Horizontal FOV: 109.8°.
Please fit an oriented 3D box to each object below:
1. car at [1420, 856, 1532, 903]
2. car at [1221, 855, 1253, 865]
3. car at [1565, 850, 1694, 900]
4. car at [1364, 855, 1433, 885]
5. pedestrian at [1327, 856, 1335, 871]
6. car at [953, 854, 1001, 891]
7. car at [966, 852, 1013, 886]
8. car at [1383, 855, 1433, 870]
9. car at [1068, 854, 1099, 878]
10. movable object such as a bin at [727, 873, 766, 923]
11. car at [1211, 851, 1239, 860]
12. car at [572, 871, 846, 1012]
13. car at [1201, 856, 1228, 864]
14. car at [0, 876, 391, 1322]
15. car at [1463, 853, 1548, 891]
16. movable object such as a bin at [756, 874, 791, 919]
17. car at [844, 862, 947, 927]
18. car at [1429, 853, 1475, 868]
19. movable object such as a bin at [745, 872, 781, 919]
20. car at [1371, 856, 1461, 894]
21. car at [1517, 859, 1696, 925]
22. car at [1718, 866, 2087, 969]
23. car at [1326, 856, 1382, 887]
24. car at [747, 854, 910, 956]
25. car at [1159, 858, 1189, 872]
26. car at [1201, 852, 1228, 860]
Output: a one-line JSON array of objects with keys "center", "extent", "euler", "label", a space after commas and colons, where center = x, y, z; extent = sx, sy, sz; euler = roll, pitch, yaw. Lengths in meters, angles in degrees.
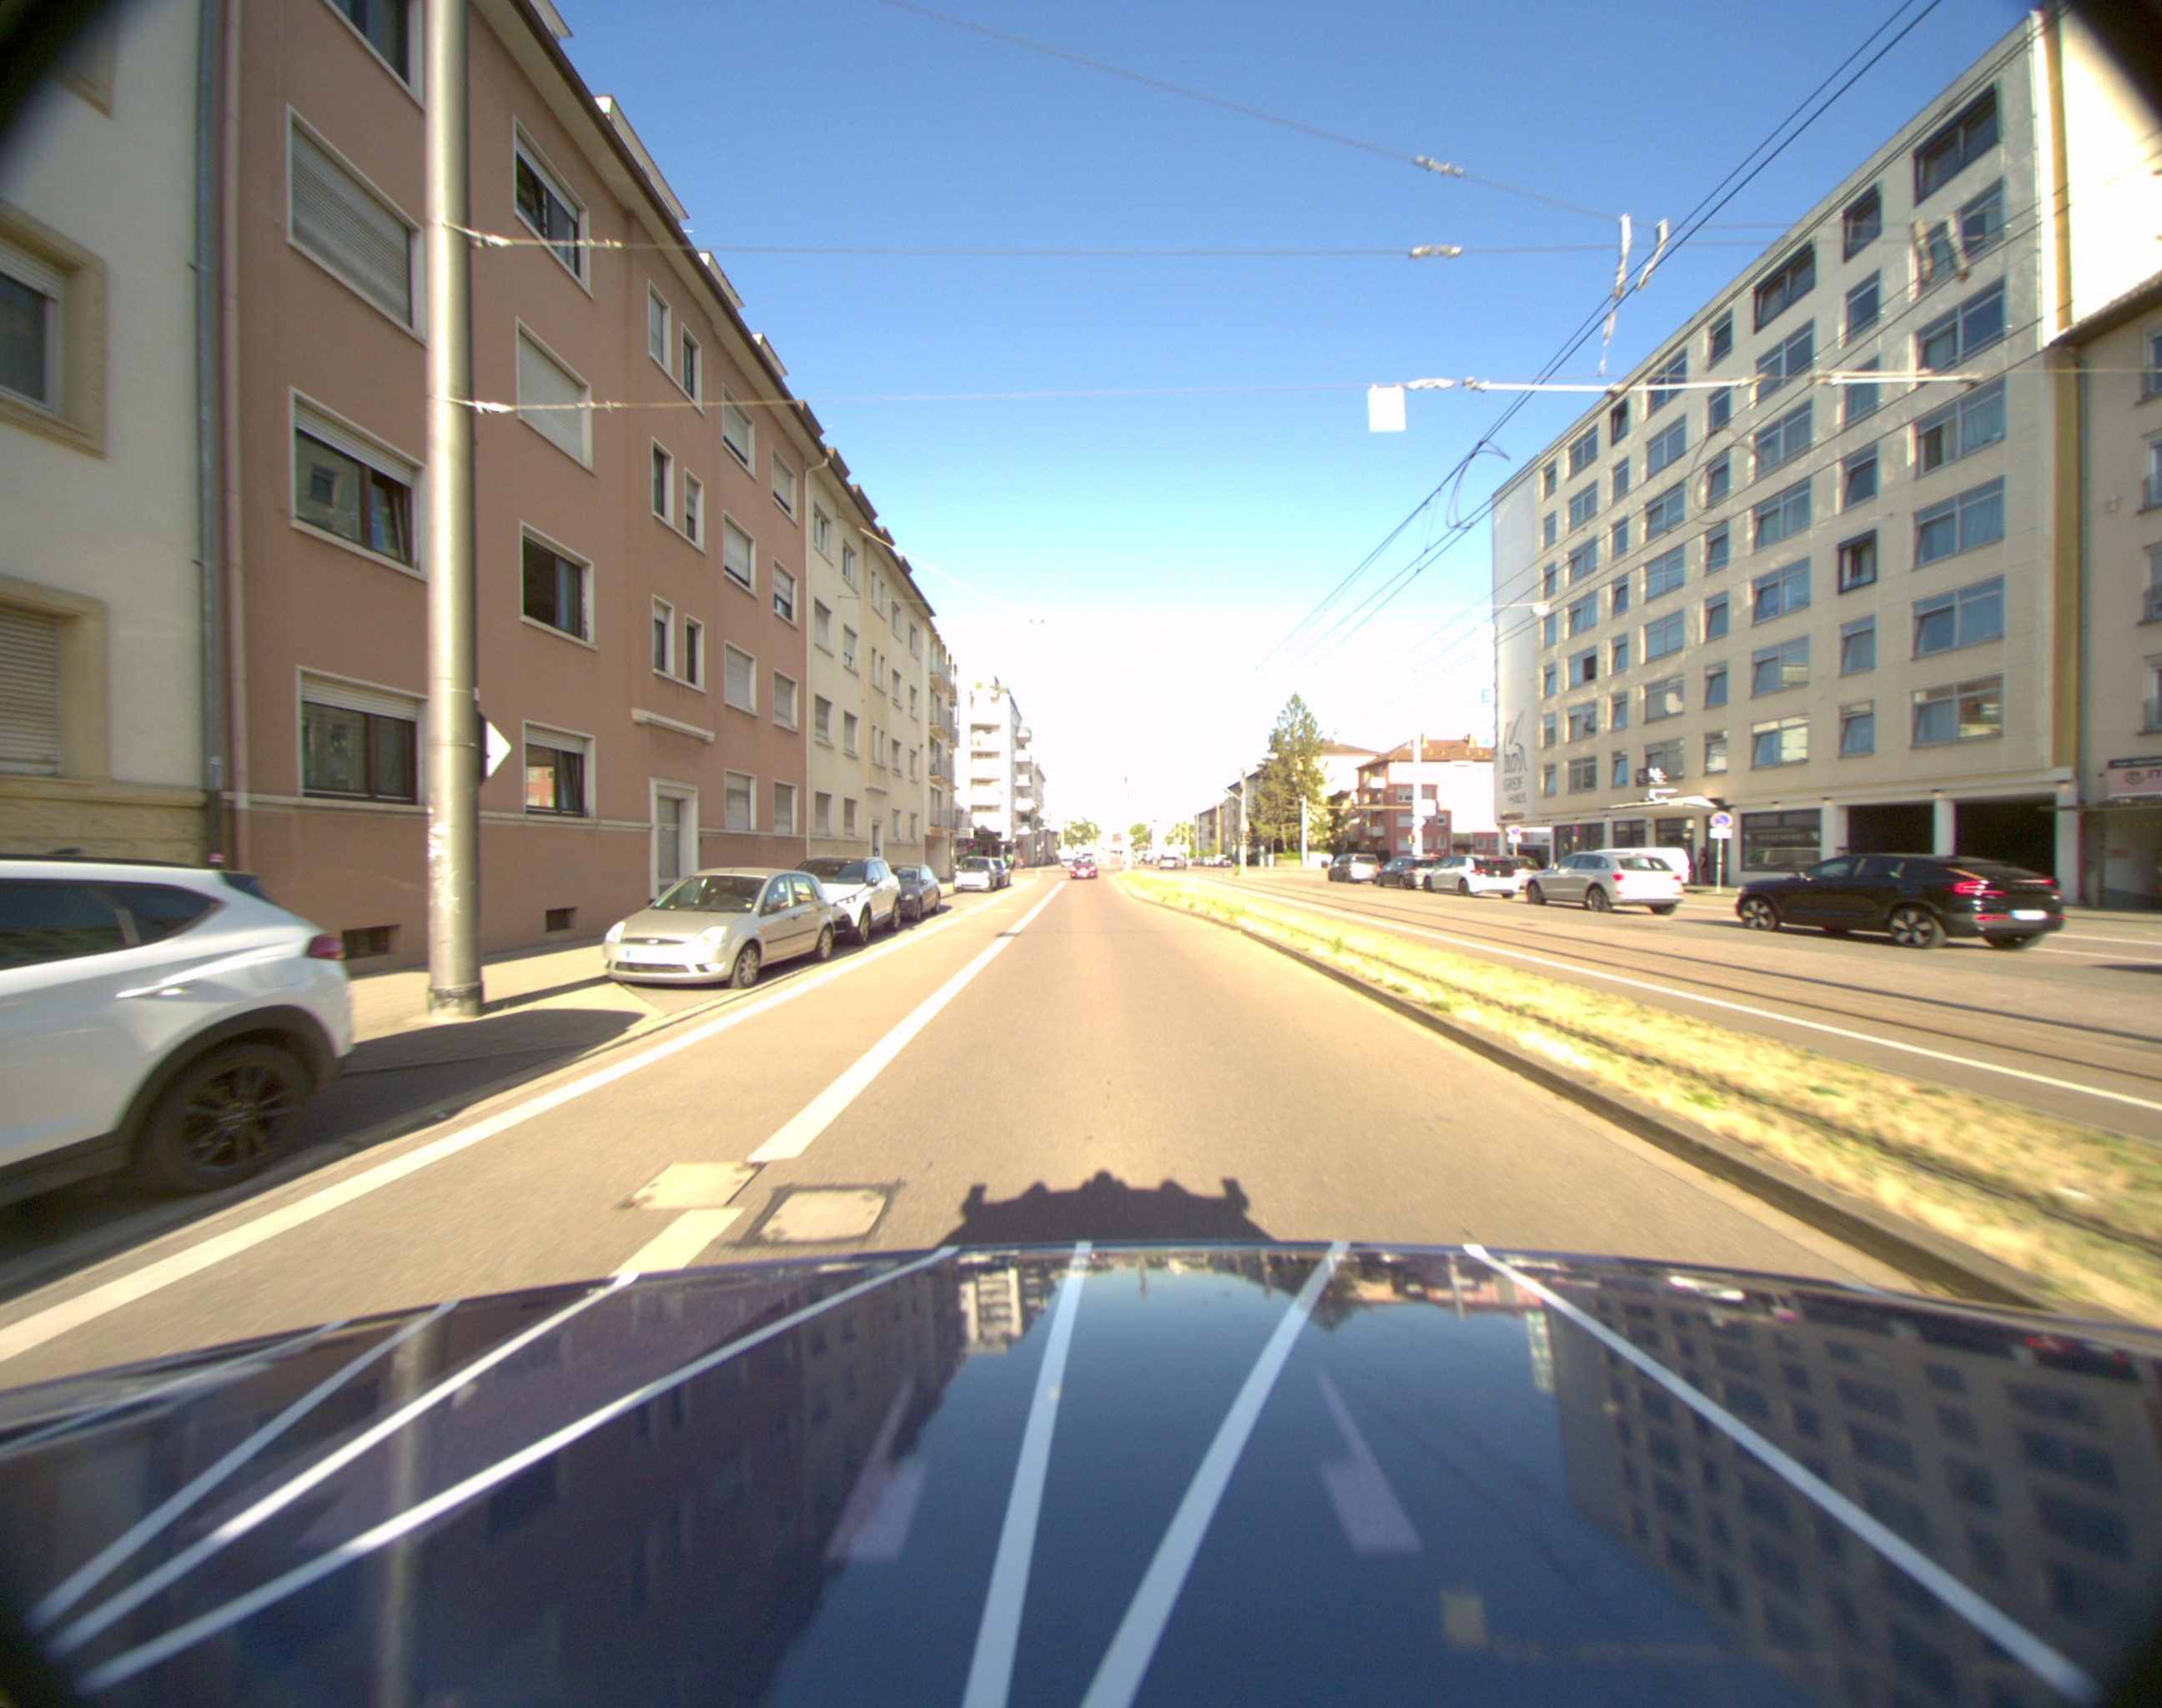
[{"center": [14.499, 0.884, 28.188], "extent": [1.861, 1.541, 4.240], "euler": [2, 0, -1], "label": "car"}, {"center": [21.229, 0.877, 103.492], "extent": [3.997, 1.324, 1.738], "euler": [0, 0, 0], "label": "car"}, {"center": [23.062, 0.835, 32.195], "extent": [1.999, 1.887, 4.669], "euler": [-2, 0, -1], "label": "car"}, {"center": [17.190, 0.822, 41.321], "extent": [1.999, 1.550, 3.999], "euler": [0, 0, -1], "label": "car"}, {"center": [26.631, 0.976, 80.835], "extent": [0.615, 1.596, 0.510], "euler": [-3, 1, -1], "label": "pedestrian"}, {"center": [-4.549, 0.791, 33.587], "extent": [1.762, 1.543, 2.649], "euler": [1, 0, -1], "label": "car"}, {"center": [-4.461, 0.691, 37.557], "extent": [1.822, 1.543, 4.175], "euler": [2, 0, -1], "label": "car"}, {"center": [34.808, 0.892, 80.889], "extent": [4.461, 1.433, 1.860], "euler": [-3, 0, 1], "label": "car"}, {"center": [0.206, 0.732, 47.532], "extent": [1.862, 1.461, 3.809], "euler": [1, 0, 2], "label": "car"}, {"center": [-8.041, 1.046, 18.277], "extent": [0.605, 1.128, 0.563], "euler": [-3, 0, 1], "label": "movable object such as a bin"}, {"center": [21.721, 0.182, 114.710], "extent": [3.997, 1.324, 1.738], "euler": [0, 0, 0], "label": "car"}, {"center": [-4.828, 1.030, 10.587], "extent": [1.625, 1.452, 4.055], "euler": [2, 0, 3], "label": "car"}, {"center": [21.649, 1.000, 123.448], "extent": [3.997, 1.324, 1.738], "euler": [0, 0, 0], "label": "car"}, {"center": [-5.034, 0.958, 2.248], "extent": [1.852, 1.627, 4.574], "euler": [1, 0, -1], "label": "car"}, {"center": [18.098, 0.746, 32.581], "extent": [1.571, 1.492, 3.572], "euler": [2, 0, -1], "label": "car"}, {"center": [-7.995, 1.092, 19.762], "extent": [0.605, 1.128, 0.563], "euler": [-3, 0, 1], "label": "movable object such as a bin"}, {"center": [-4.876, 1.005, 20.527], "extent": [1.750, 1.470, 4.153], "euler": [3, 0, -1], "label": "car"}, {"center": [39.645, 0.718, 81.243], "extent": [3.997, 1.433, 1.748], "euler": [-3, 0, 1], "label": "car"}, {"center": [-8.000, 1.045, 19.117], "extent": [0.605, 1.128, 0.563], "euler": [-3, 0, 1], "label": "movable object such as a bin"}, {"center": [14.934, 0.899, 34.126], "extent": [1.999, 1.541, 4.366], "euler": [2, 0, -1], "label": "car"}, {"center": [14.269, 0.951, 21.017], "extent": [1.787, 1.572, 4.608], "euler": [1, 0, 1], "label": "car"}, {"center": [14.474, 1.021, 13.870], "extent": [1.788, 1.519, 4.413], "euler": [1, 0, -4], "label": "car"}, {"center": [14.783, 0.891, 41.334], "extent": [1.617, 1.550, 4.000], "euler": [2, 0, 1], "label": "car"}, {"center": [-4.893, 0.910, 15.482], "extent": [1.806, 1.687, 4.490], "euler": [3, 0, -1], "label": "car"}, {"center": [9.776, 1.143, 79.593], "extent": [1.718, 1.379, 3.720], "euler": [-2, 0, 32], "label": "car"}, {"center": [20.923, 0.340, 119.382], "extent": [3.997, 1.324, 1.738], "euler": [0, 0, 0], "label": "car"}]
